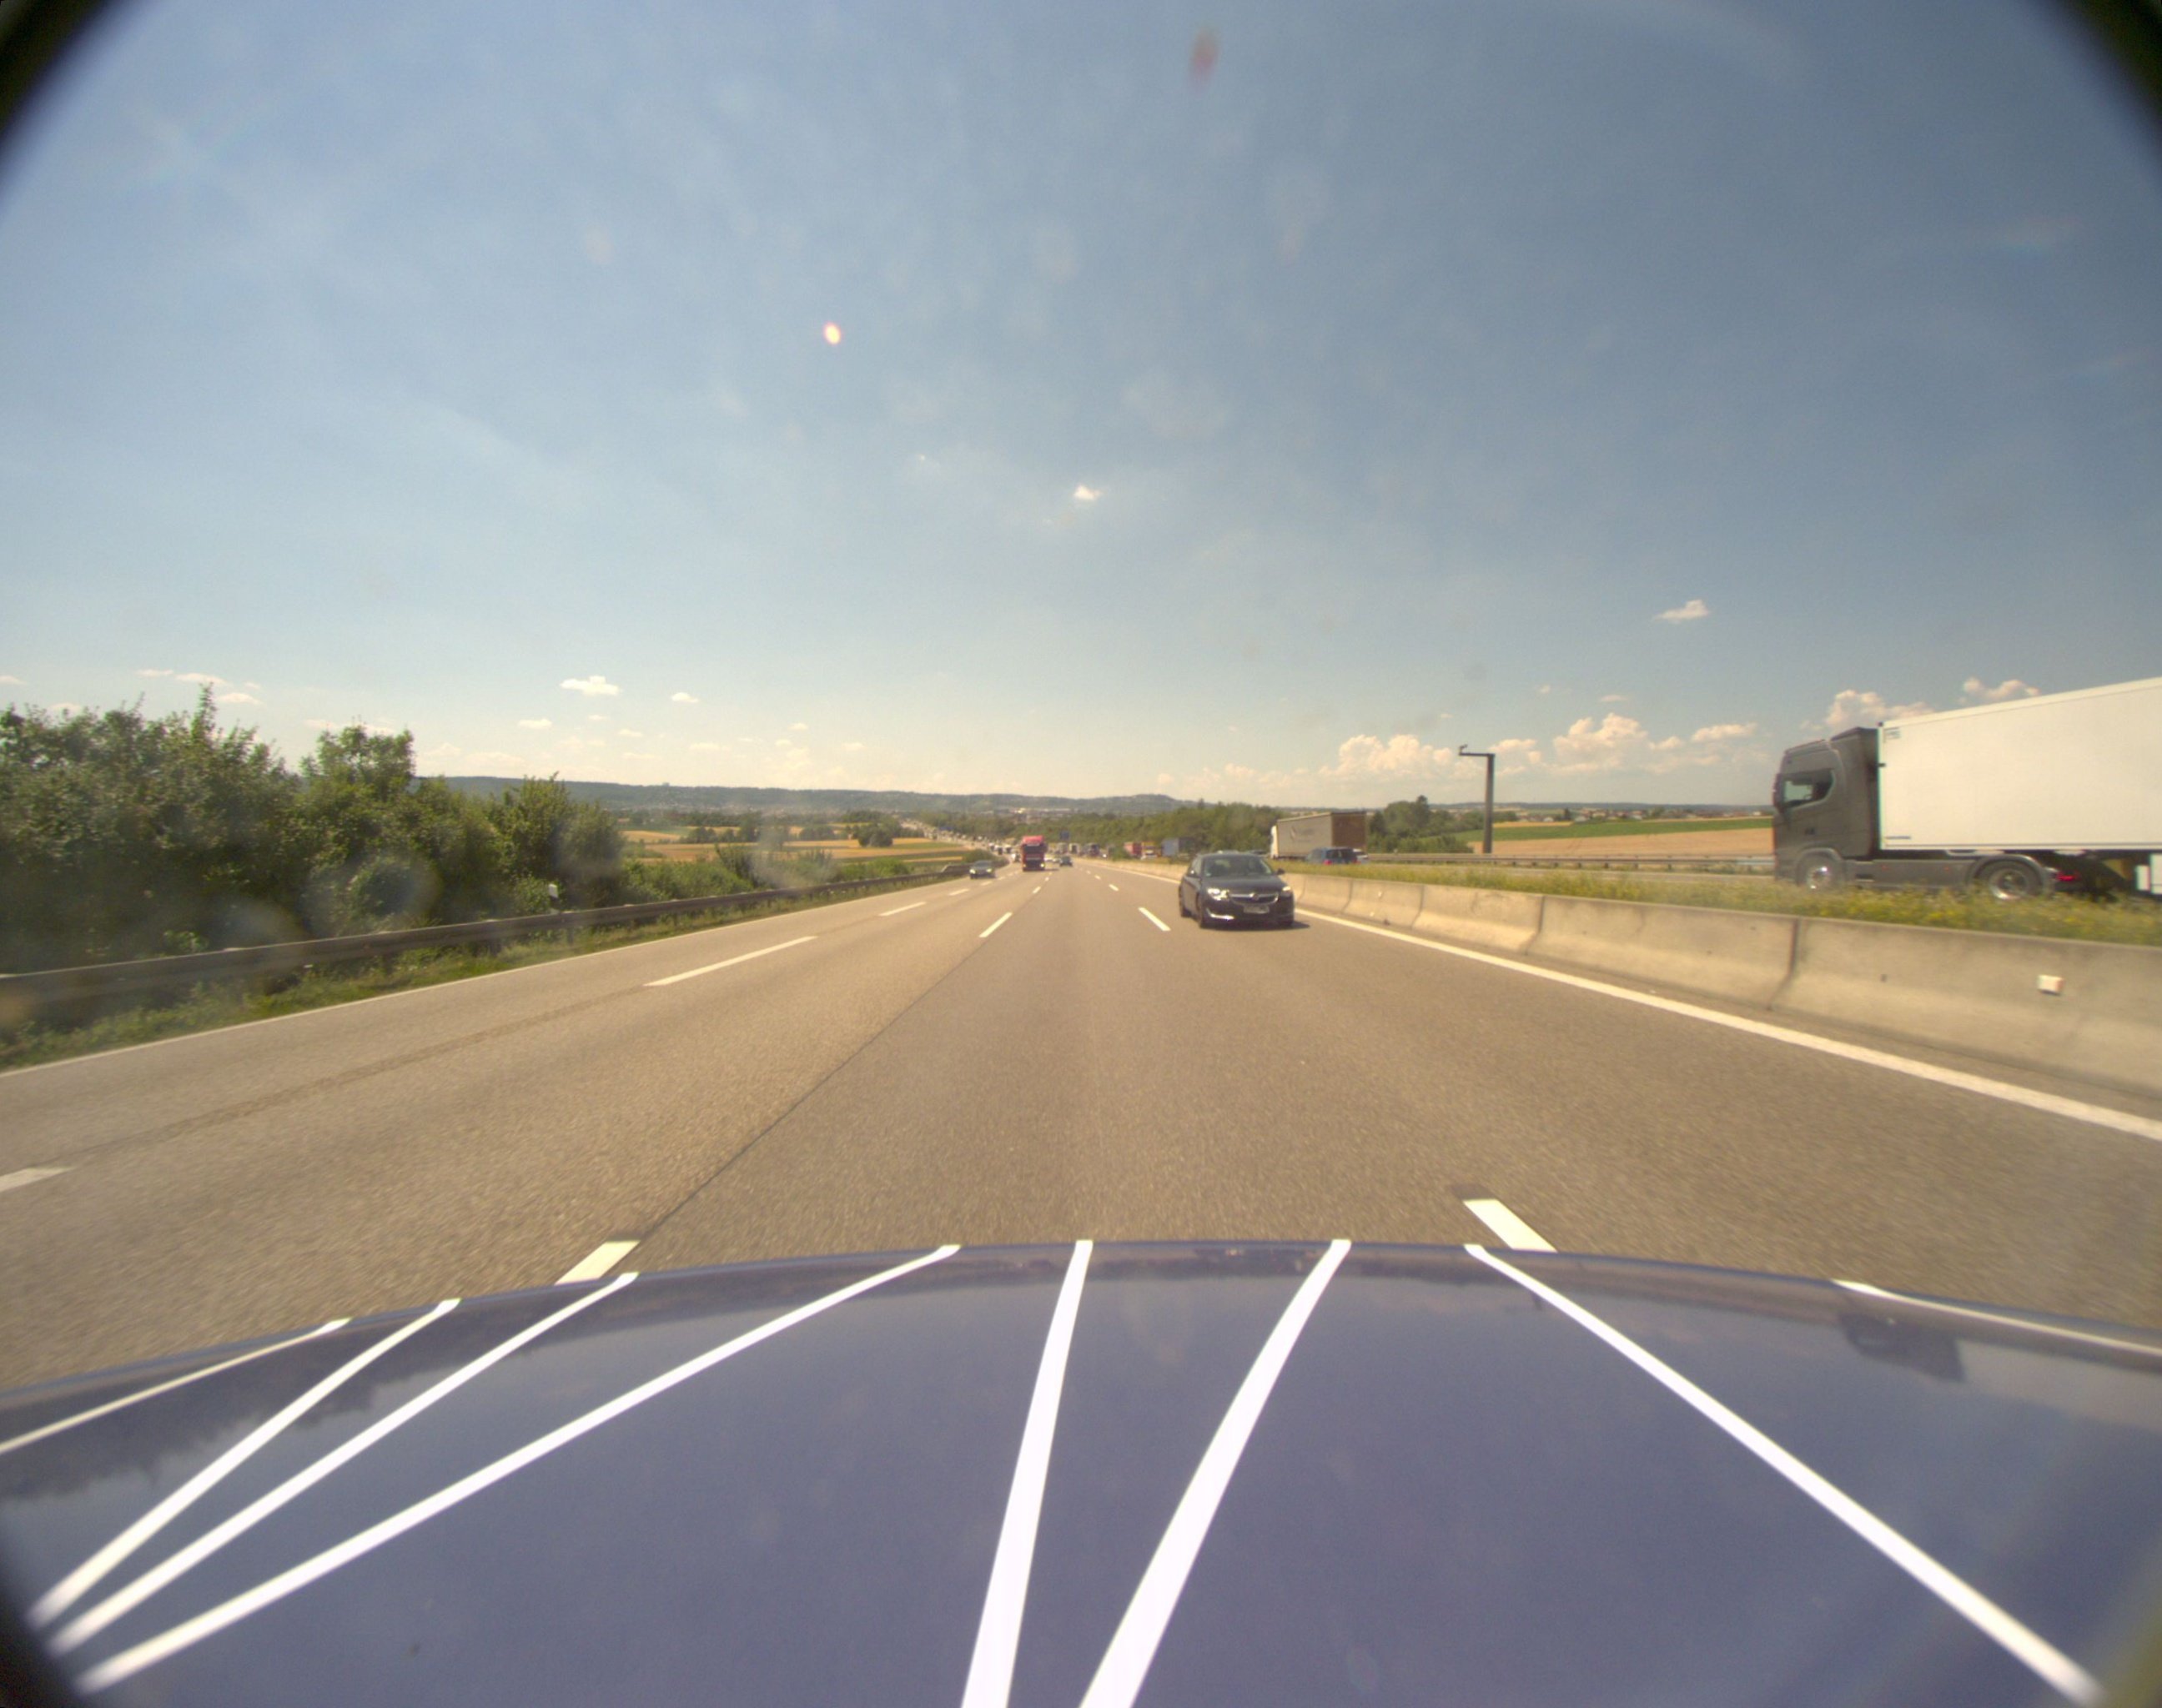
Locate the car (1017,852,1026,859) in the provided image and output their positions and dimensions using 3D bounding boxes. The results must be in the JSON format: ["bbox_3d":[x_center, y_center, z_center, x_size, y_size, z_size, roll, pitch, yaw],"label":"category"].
[{"bbox_3d":[-14.448,0.403,183.737,1.999,1.467,3.997,-2,3,-3],"label":"car"}]

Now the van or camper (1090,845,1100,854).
[{"bbox_3d":[4.112,-1.368,228.897,2.318,2.572,7.139,-2,1,-4],"label":"van or camper"}]

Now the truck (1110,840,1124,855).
[{"bbox_3d":[9.935,-1.817,209.955,2.909,3.854,6.174,-3,1,-6],"label":"truck"}]

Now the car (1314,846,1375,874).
[{"bbox_3d":[15.184,0.305,44.040,1.871,1.448,4.572,-2,1,-1],"label":"car"}]

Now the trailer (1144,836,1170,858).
[{"bbox_3d":[14.830,-1.330,149.093,2.961,4.076,14.376,-2,0,-3],"label":"trailer"}]

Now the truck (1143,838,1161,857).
[{"bbox_3d":[14.582,-1.275,156.661,2.758,3.815,7.096,-2,0,-3],"label":"truck"}]

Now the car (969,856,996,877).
[{"bbox_3d":[-8.027,0.985,62.080,2.038,1.543,3.997,-2,0,-7],"label":"car"}]

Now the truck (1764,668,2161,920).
[{"bbox_3d":[19.407,-1.054,16.213,3.234,4.182,7.125,-2,0,0],"label":"truck"}]

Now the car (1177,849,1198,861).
[{"bbox_3d":[13.934,0.156,99.599,1.848,1.452,4.490,-2,0,-2],"label":"car"}]

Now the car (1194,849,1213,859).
[{"bbox_3d":[17.400,0.024,108.070,1.662,1.377,4.349,-2,0,-2],"label":"car"}]

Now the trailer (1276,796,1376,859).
[{"bbox_3d":[18.931,-1.896,60.215,3.131,4.299,14.542,-2,1,0],"label":"trailer"}]

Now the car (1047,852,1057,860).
[{"bbox_3d":[-6.771,0.472,179.142,2.000,1.467,3.995,-3,3,-7],"label":"car"}]

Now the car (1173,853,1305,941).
[{"bbox_3d":[3.173,0.782,16.255,1.807,1.534,4.749,-2,0,0],"label":"car"}]

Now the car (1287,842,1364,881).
[{"bbox_3d":[11.505,0.342,36.152,1.999,1.657,4.963,-2,0,-1],"label":"car"}]

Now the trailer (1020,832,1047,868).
[{"bbox_3d":[-5.817,-0.640,94.460,2.926,4.094,13.850,-3,2,-3],"label":"trailer"}]

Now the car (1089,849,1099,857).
[{"bbox_3d":[3.333,-0.361,193.202,1.919,1.958,5.444,-2,1,-4],"label":"car"}]

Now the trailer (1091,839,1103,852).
[{"bbox_3d":[5.391,-2.837,257.032,2.995,4.169,8.589,-2,1,-5],"label":"trailer"}]

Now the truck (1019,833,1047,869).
[{"bbox_3d":[-5.481,-0.412,87.813,2.924,3.986,6.507,-3,2,-3],"label":"truck"}]

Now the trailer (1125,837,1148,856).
[{"bbox_3d":[12.751,-1.711,175.251,3.094,4.077,14.374,-2,1,-4],"label":"trailer"}]

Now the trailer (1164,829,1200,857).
[{"bbox_3d":[16.234,-1.762,123.643,3.170,4.170,14.375,-3,1,-2],"label":"trailer"}]

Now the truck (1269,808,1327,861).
[{"bbox_3d":[18.905,-1.661,66.643,3.140,4.303,6.146,-2,1,0],"label":"truck"}]

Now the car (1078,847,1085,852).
[{"bbox_3d":[0.227,-1.596,262.310,1.919,1.762,4.759,-3,1,-6],"label":"car"}]

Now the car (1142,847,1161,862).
[{"bbox_3d":[9.841,0.078,106.137,1.999,1.893,5.675,-2,1,-1],"label":"car"}]

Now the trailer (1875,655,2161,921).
[{"bbox_3d":[19.354,-1.132,9.933,3.250,4.361,14.026,-2,0,0],"label":"trailer"}]

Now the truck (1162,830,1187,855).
[{"bbox_3d":[15.978,-1.876,130.233,3.084,4.066,6.933,-2,1,-3],"label":"truck"}]

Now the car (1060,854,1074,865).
[{"bbox_3d":[-2.125,0.751,114.264,1.866,1.426,3.996,-2,2,-5],"label":"car"}]

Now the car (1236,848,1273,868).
[{"bbox_3d":[14.506,0.299,63.690,1.999,1.578,4.588,-2,1,-1],"label":"car"}]

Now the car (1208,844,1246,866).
[{"bbox_3d":[11.102,0.083,57.997,1.884,1.562,4.588,-2,0,-1],"label":"car"}]

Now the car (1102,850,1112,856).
[{"bbox_3d":[6.605,-0.311,194.895,1.919,1.532,5.740,-2,1,-4],"label":"car"}]
